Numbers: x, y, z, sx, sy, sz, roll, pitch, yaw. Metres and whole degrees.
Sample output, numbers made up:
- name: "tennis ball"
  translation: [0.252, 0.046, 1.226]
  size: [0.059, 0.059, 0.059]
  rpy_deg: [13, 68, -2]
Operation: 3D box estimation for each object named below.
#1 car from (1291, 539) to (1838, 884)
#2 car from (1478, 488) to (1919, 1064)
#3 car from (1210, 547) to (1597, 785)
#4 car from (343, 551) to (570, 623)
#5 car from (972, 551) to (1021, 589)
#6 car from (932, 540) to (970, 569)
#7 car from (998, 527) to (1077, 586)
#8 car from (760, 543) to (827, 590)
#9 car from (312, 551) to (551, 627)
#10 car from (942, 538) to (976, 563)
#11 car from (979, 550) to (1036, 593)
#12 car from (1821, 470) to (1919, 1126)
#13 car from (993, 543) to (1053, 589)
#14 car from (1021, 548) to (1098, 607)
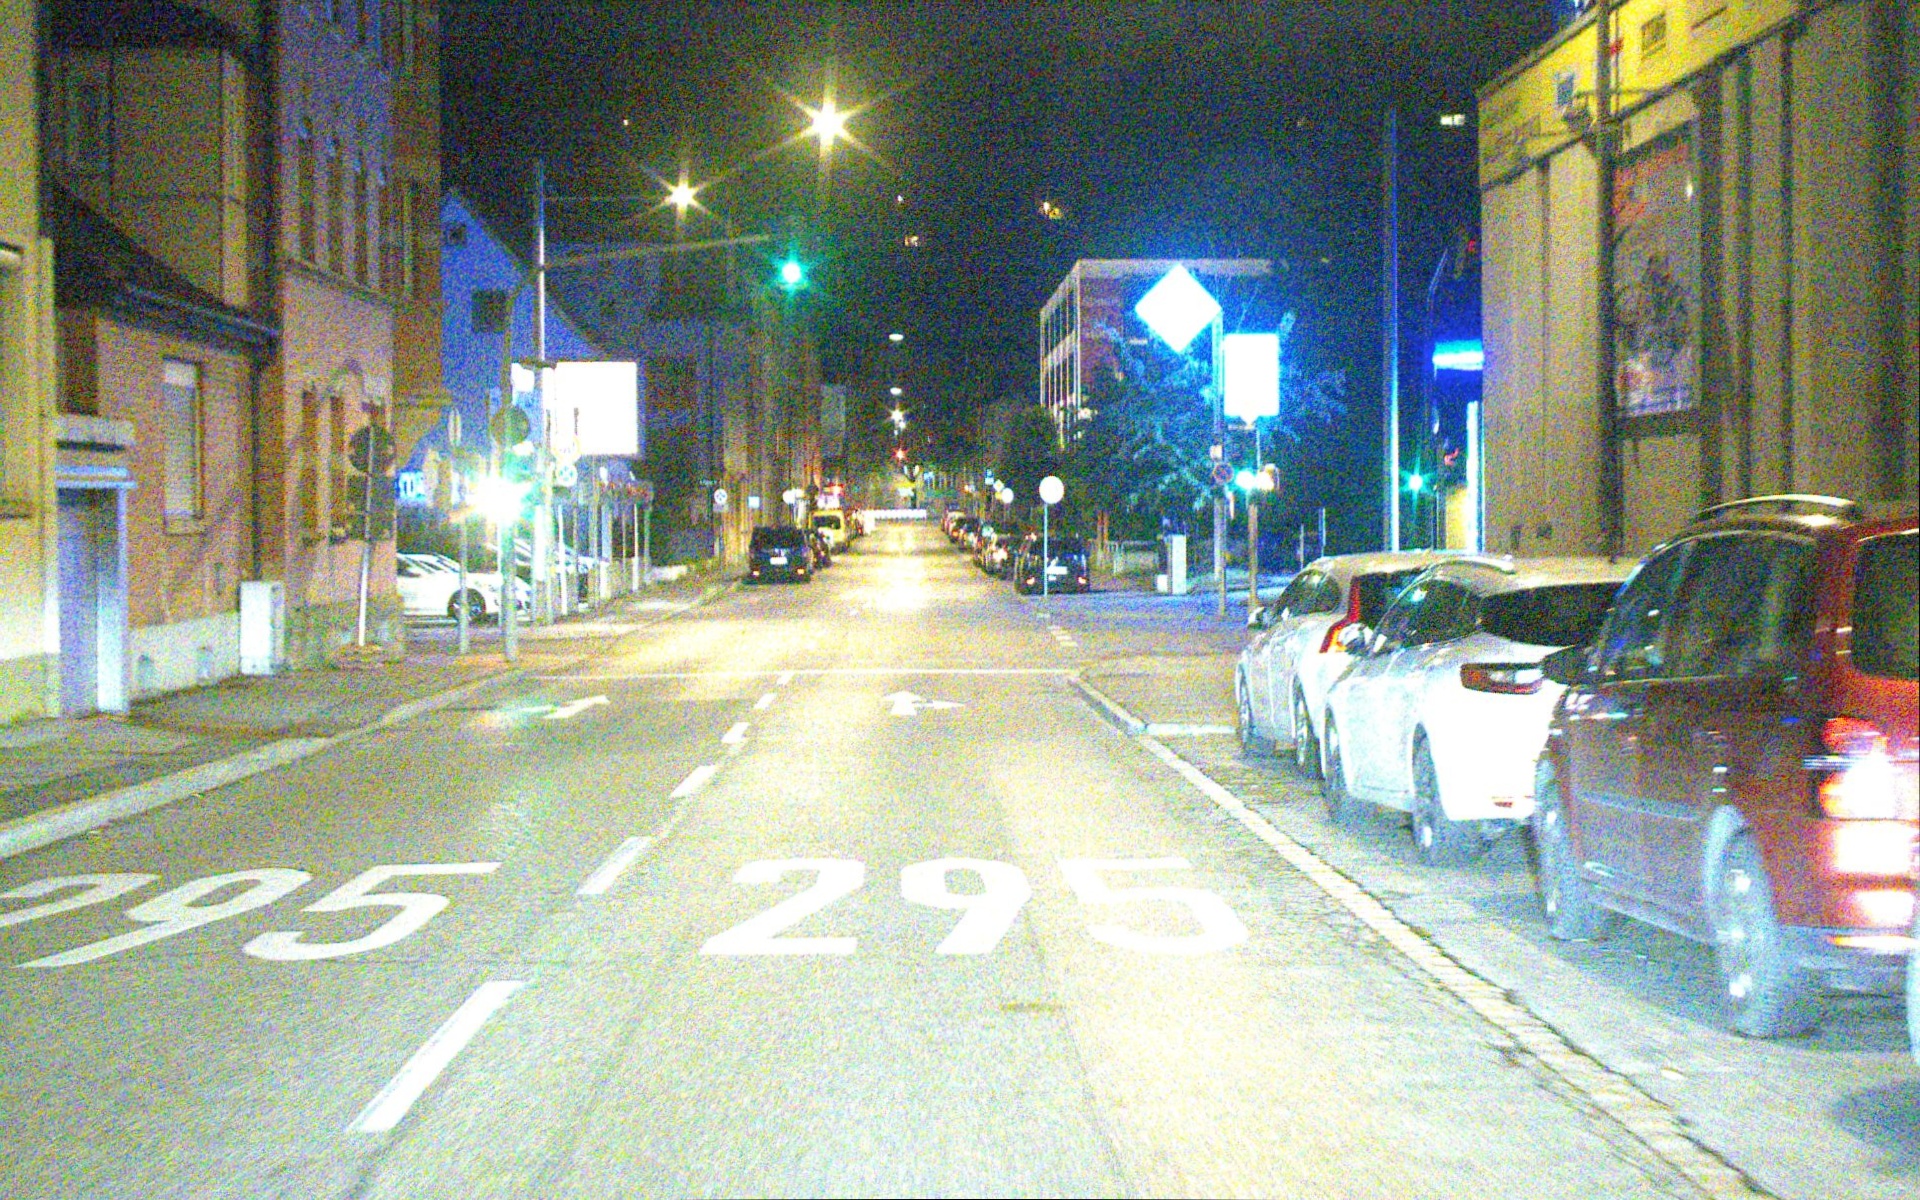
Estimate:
- name: "car"
  translation: [2.927, 0.493, 17.641]
  size: [1.774, 1.539, 4.547]
  rpy_deg: [0, 0, -3]
- name: "car"
  translation: [3.146, 0.444, 11.943]
  size: [1.823, 1.617, 4.458]
  rpy_deg: [-1, 1, -2]
- name: "car"
  translation: [2.944, 0.407, 23.796]
  size: [1.859, 1.484, 4.547]
  rpy_deg: [0, 0, -3]
- name: "car"
  translation: [-10.346, -0.263, 70.851]
  size: [4.438, 1.445, 2.000]
  rpy_deg: [0, 0, -2]
- name: "car"
  translation: [1.494, -1.229, 140.393]
  size: [1.993, 1.515, 4.000]
  rpy_deg: [0, 0, 1]
- name: "car"
  translation: [-0.468, -2.473, 188.039]
  size: [1.993, 1.515, 4.000]
  rpy_deg: [0, 0, 1]
- name: "car"
  translation: [2.167, -1.238, 97.261]
  size: [1.993, 1.590, 4.000]
  rpy_deg: [1, 1, -2]
- name: "car"
  translation: [-5.333, -1.061, 110.322]
  size: [1.993, 1.497, 4.000]
  rpy_deg: [0, 0, -1]
- name: "car"
  translation: [-10.390, -0.217, 67.821]
  size: [4.439, 1.445, 2.000]
  rpy_deg: [0, 0, -1]
- name: "car"
  translation: [-0.067, -3.024, 211.014]
  size: [1.993, 1.515, 4.000]
  rpy_deg: [0, 0, 1]
- name: "car"
  translation: [1.710, -1.001, 123.053]
  size: [1.993, 1.515, 4.000]
  rpy_deg: [0, 0, 1]
- name: "car"
  translation: [3.271, 0.489, 6.772]
  size: [1.823, 1.583, 4.629]
  rpy_deg: [-1, 1, -2]
- name: "car"
  translation: [2.103, -1.131, 115.544]
  size: [1.993, 1.515, 4.000]
  rpy_deg: [0, 0, 1]
- name: "car"
  translation: [2.629, -0.611, 91.728]
  size: [1.993, 1.511, 4.000]
  rpy_deg: [1, 1, 1]
